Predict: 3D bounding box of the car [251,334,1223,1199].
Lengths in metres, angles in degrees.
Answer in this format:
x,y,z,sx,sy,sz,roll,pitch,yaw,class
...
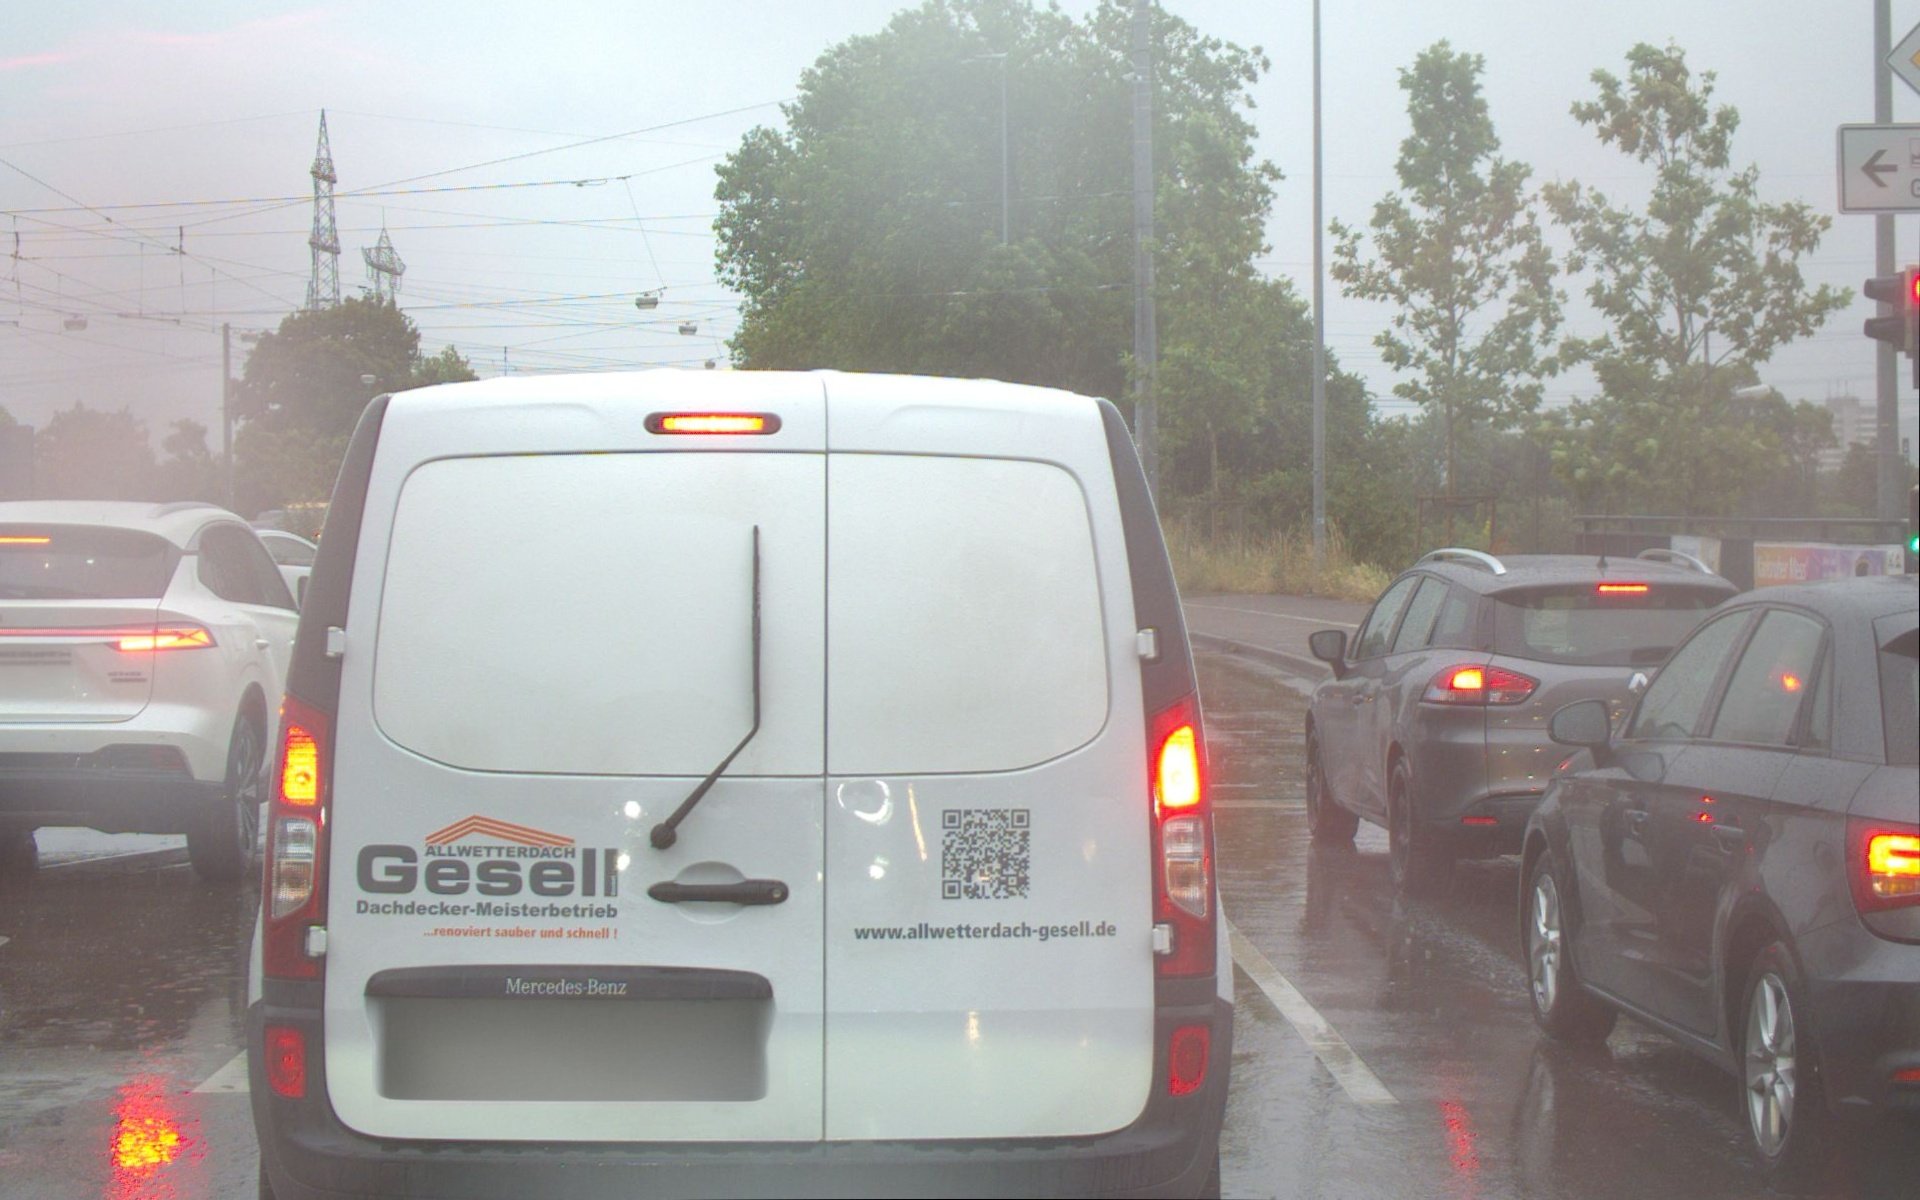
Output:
x,y,z,sx,sy,sz,roll,pitch,yaw,class
-0.382,0.439,7.563,1.566,1.782,4.000,0,1,-1,car

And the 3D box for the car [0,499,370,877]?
x,y,z,sx,sy,sz,roll,pitch,yaw,class
-3.950,0.299,16.130,1.728,1.530,4.298,1,1,-2,car

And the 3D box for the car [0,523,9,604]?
x,y,z,sx,sy,sz,roll,pitch,yaw,class
-21.139,-0.769,70.605,1.892,1.693,4.000,1,1,3,car

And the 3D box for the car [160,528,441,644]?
x,y,z,sx,sy,sz,roll,pitch,yaw,class
-8.903,-0.196,46.640,1.617,1.498,3.708,1,1,33,car

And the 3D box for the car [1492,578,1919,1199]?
x,y,z,sx,sy,sz,roll,pitch,yaw,class
2.533,0.634,8.927,1.629,1.340,3.624,1,1,-2,car

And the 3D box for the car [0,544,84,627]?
x,y,z,sx,sy,sz,roll,pitch,yaw,class
-21.330,-0.349,77.432,1.929,1.820,3.999,1,1,4,car

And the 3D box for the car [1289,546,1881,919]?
x,y,z,sx,sy,sz,roll,pitch,yaw,class
2.662,0.498,15.534,1.859,1.424,3.808,1,1,-2,car
